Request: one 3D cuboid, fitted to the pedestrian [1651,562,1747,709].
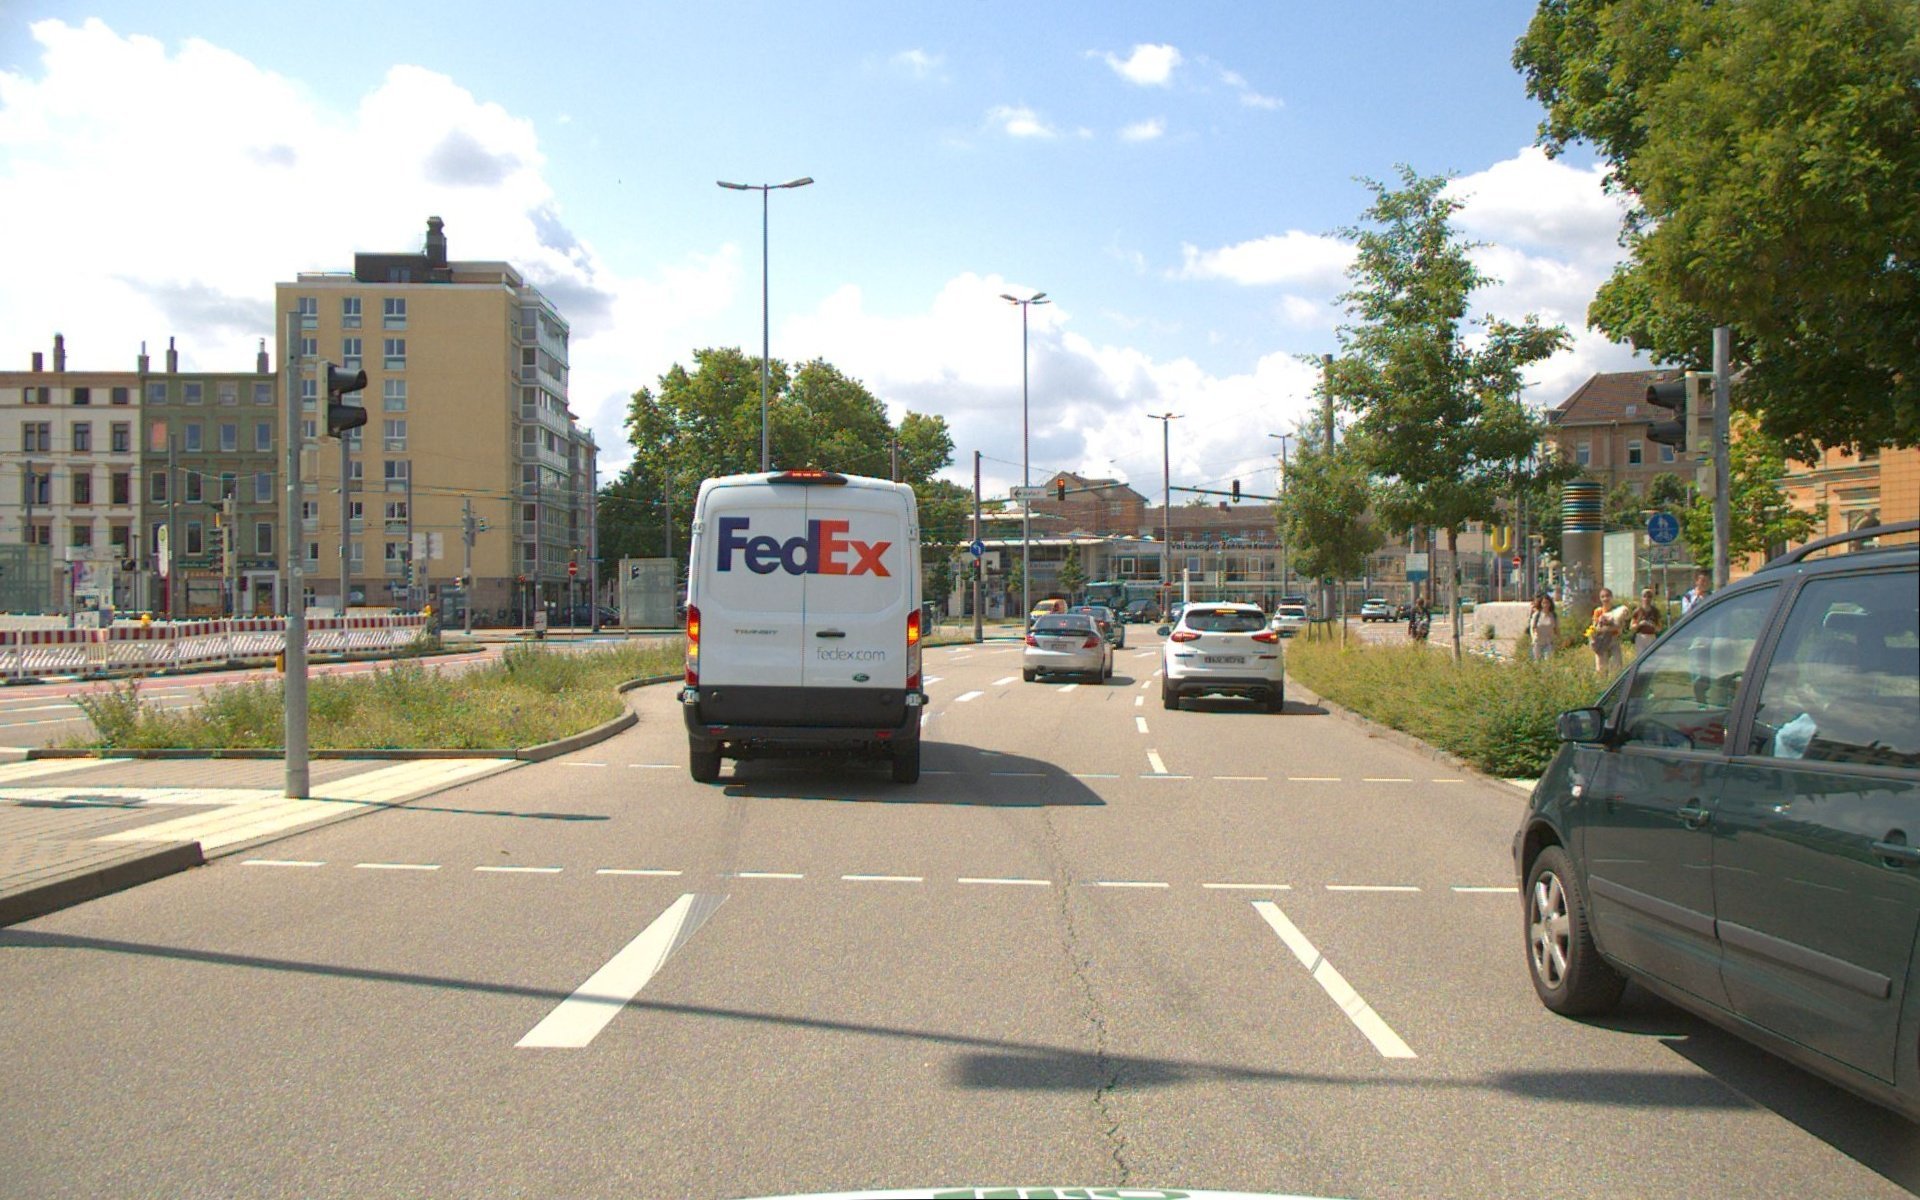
[{"bbox_3d":[9.753,0.461,21.851,0.742,1.852,0.778,-4,0,-10],"label":"pedestrian"}]

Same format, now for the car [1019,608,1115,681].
[{"bbox_3d":[2.355,0.918,35.522,1.704,1.416,4.183,0,0,8],"label":"car"}]

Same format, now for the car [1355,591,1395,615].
[{"bbox_3d":[29.527,0.179,117.622,1.845,1.670,3.952,0,0,28],"label":"car"}]

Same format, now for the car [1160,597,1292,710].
[{"bbox_3d":[4.231,0.797,26.883,1.841,1.670,4.235,0,0,5],"label":"car"}]

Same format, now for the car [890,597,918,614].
[{"bbox_3d":[-5.531,0.528,163.607,1.951,1.601,4.181,0,-1,10],"label":"car"}]

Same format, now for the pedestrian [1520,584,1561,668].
[{"bbox_3d":[12.927,0.577,36.843,0.739,1.853,0.674,0,-1,9],"label":"pedestrian"}]

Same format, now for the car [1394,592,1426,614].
[{"bbox_3d":[34.789,0.238,127.866,1.843,1.670,3.956,0,0,23],"label":"car"}]

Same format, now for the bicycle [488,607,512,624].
[{"bbox_3d":[-31.359,1.060,112.739,2.095,1.167,0.509,0,-1,40],"label":"bicycle"}]

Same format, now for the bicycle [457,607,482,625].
[{"bbox_3d":[-33.186,1.091,111.856,2.095,1.167,0.509,0,-1,40],"label":"bicycle"}]

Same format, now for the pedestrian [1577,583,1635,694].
[{"bbox_3d":[9.828,0.582,25.171,0.575,1.654,0.727,1,-1,-3],"label":"pedestrian"}]

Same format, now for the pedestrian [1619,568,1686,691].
[{"bbox_3d":[10.527,0.448,25.156,0.741,1.853,0.637,1,-1,-3],"label":"pedestrian"}]

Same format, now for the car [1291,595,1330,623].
[{"bbox_3d":[21.322,0.544,100.549,1.842,1.670,3.958,0,0,19],"label":"car"}]

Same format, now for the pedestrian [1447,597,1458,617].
[{"bbox_3d":[37.956,0.550,127.427,0.679,1.483,0.679,0,-1,28],"label":"pedestrian"}]

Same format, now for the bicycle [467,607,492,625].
[{"bbox_3d":[-32.598,1.093,112.142,2.095,1.167,0.509,0,-1,40],"label":"bicycle"}]

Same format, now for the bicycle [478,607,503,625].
[{"bbox_3d":[-31.911,1.098,112.400,2.095,1.167,0.531,0,-1,41],"label":"bicycle"}]

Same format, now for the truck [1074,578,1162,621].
[{"bbox_3d":[11.380,-0.059,118.178,2.832,2.902,8.773,-1,0,31],"label":"truck"}]

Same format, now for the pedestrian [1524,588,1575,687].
[{"bbox_3d":[10.150,0.641,28.497,0.636,1.654,0.775,-3,-2,12],"label":"pedestrian"}]

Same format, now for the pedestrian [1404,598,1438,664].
[{"bbox_3d":[11.391,0.757,40.886,0.739,1.617,0.762,0,-1,12],"label":"pedestrian"}]

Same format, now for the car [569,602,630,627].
[{"bbox_3d":[-25.912,1.040,118.966,4.021,1.694,1.868,1,-1,-3],"label":"car"}]

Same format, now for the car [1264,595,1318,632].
[{"bbox_3d":[15.576,0.594,77.675,1.842,1.670,3.957,0,0,21],"label":"car"}]

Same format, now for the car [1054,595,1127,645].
[{"bbox_3d":[4.673,0.677,58.661,1.887,1.670,4.796,0,0,13],"label":"car"}]

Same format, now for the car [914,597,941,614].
[{"bbox_3d":[-3.176,0.544,162.874,1.951,1.601,4.181,0,-1,10],"label":"car"}]

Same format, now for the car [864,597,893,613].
[{"bbox_3d":[-8.096,0.506,164.090,1.951,1.601,4.181,0,-1,10],"label":"car"}]

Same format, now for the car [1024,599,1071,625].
[{"bbox_3d":[6.349,0.861,119.644,1.684,1.832,4.737,-2,0,25],"label":"car"}]

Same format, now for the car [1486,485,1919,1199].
[{"bbox_3d":[3.122,0.632,4.836,1.757,1.753,4.448,2,0,0],"label":"car"}]

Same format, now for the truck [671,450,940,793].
[{"bbox_3d":[-1.335,0.195,16.011,2.094,2.686,5.914,1,0,-2],"label":"truck"}]

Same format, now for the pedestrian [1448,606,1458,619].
[{"bbox_3d":[37.940,0.974,127.293,0.514,0.922,1.559,0,-1,27],"label":"pedestrian"}]

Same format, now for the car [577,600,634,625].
[{"bbox_3d":[-27.445,0.984,128.306,4.016,1.891,1.983,1,-1,-3],"label":"car"}]

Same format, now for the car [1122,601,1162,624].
[{"bbox_3d":[12.472,0.838,113.452,1.619,1.495,4.153,-1,0,23],"label":"car"}]
